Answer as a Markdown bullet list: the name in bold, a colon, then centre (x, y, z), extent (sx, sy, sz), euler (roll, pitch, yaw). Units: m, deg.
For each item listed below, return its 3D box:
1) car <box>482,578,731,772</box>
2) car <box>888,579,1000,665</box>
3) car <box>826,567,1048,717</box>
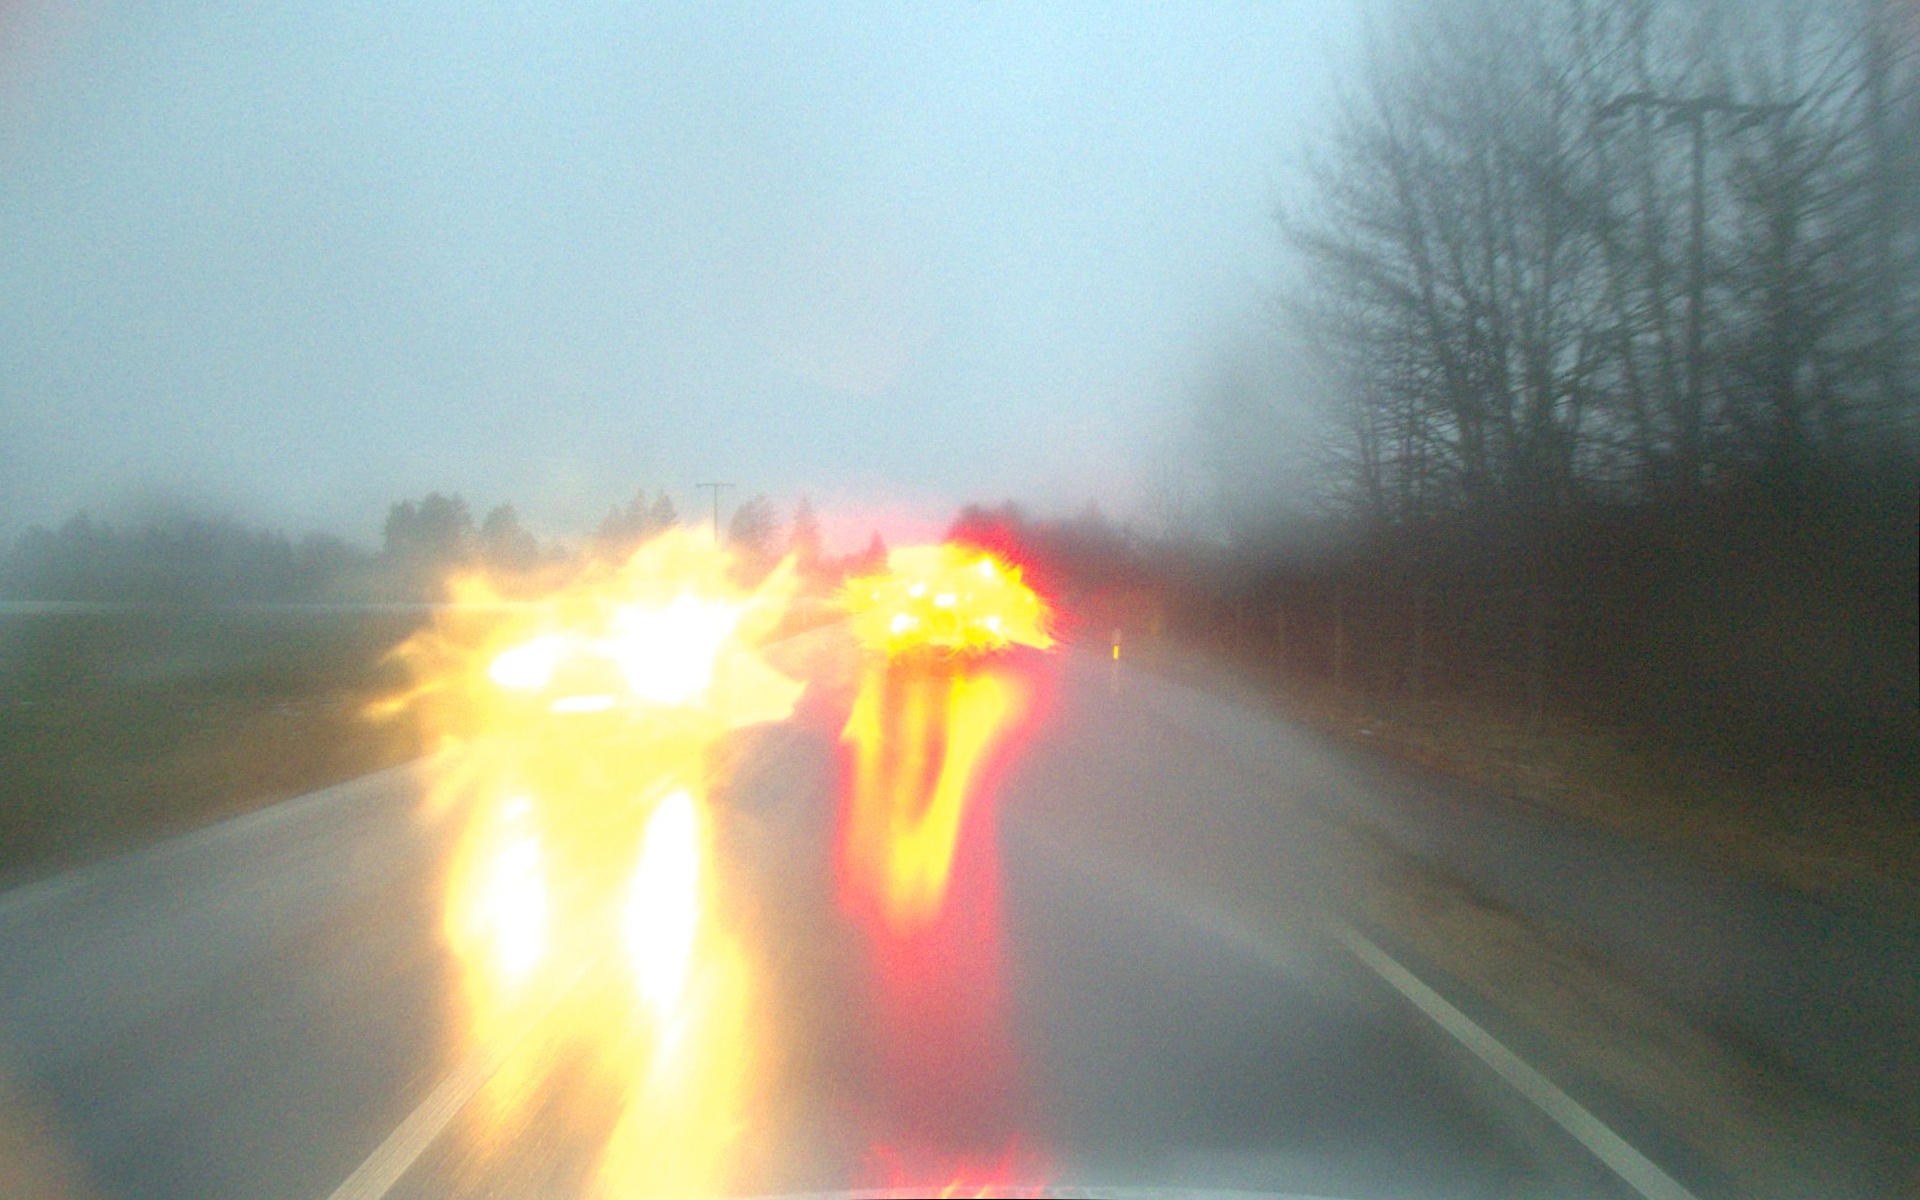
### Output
- **car**: centre (-3.511, 0.687, 17.128), extent (1.802, 1.751, 3.955), euler (1, 0, -2)
- **car**: centre (-0.417, 0.505, 43.729), extent (2.700, 2.071, 6.590), euler (-1, 1, -1)
- **car**: centre (-0.350, 0.552, 26.640), extent (3.100, 2.071, 6.851), euler (-1, 1, -1)
